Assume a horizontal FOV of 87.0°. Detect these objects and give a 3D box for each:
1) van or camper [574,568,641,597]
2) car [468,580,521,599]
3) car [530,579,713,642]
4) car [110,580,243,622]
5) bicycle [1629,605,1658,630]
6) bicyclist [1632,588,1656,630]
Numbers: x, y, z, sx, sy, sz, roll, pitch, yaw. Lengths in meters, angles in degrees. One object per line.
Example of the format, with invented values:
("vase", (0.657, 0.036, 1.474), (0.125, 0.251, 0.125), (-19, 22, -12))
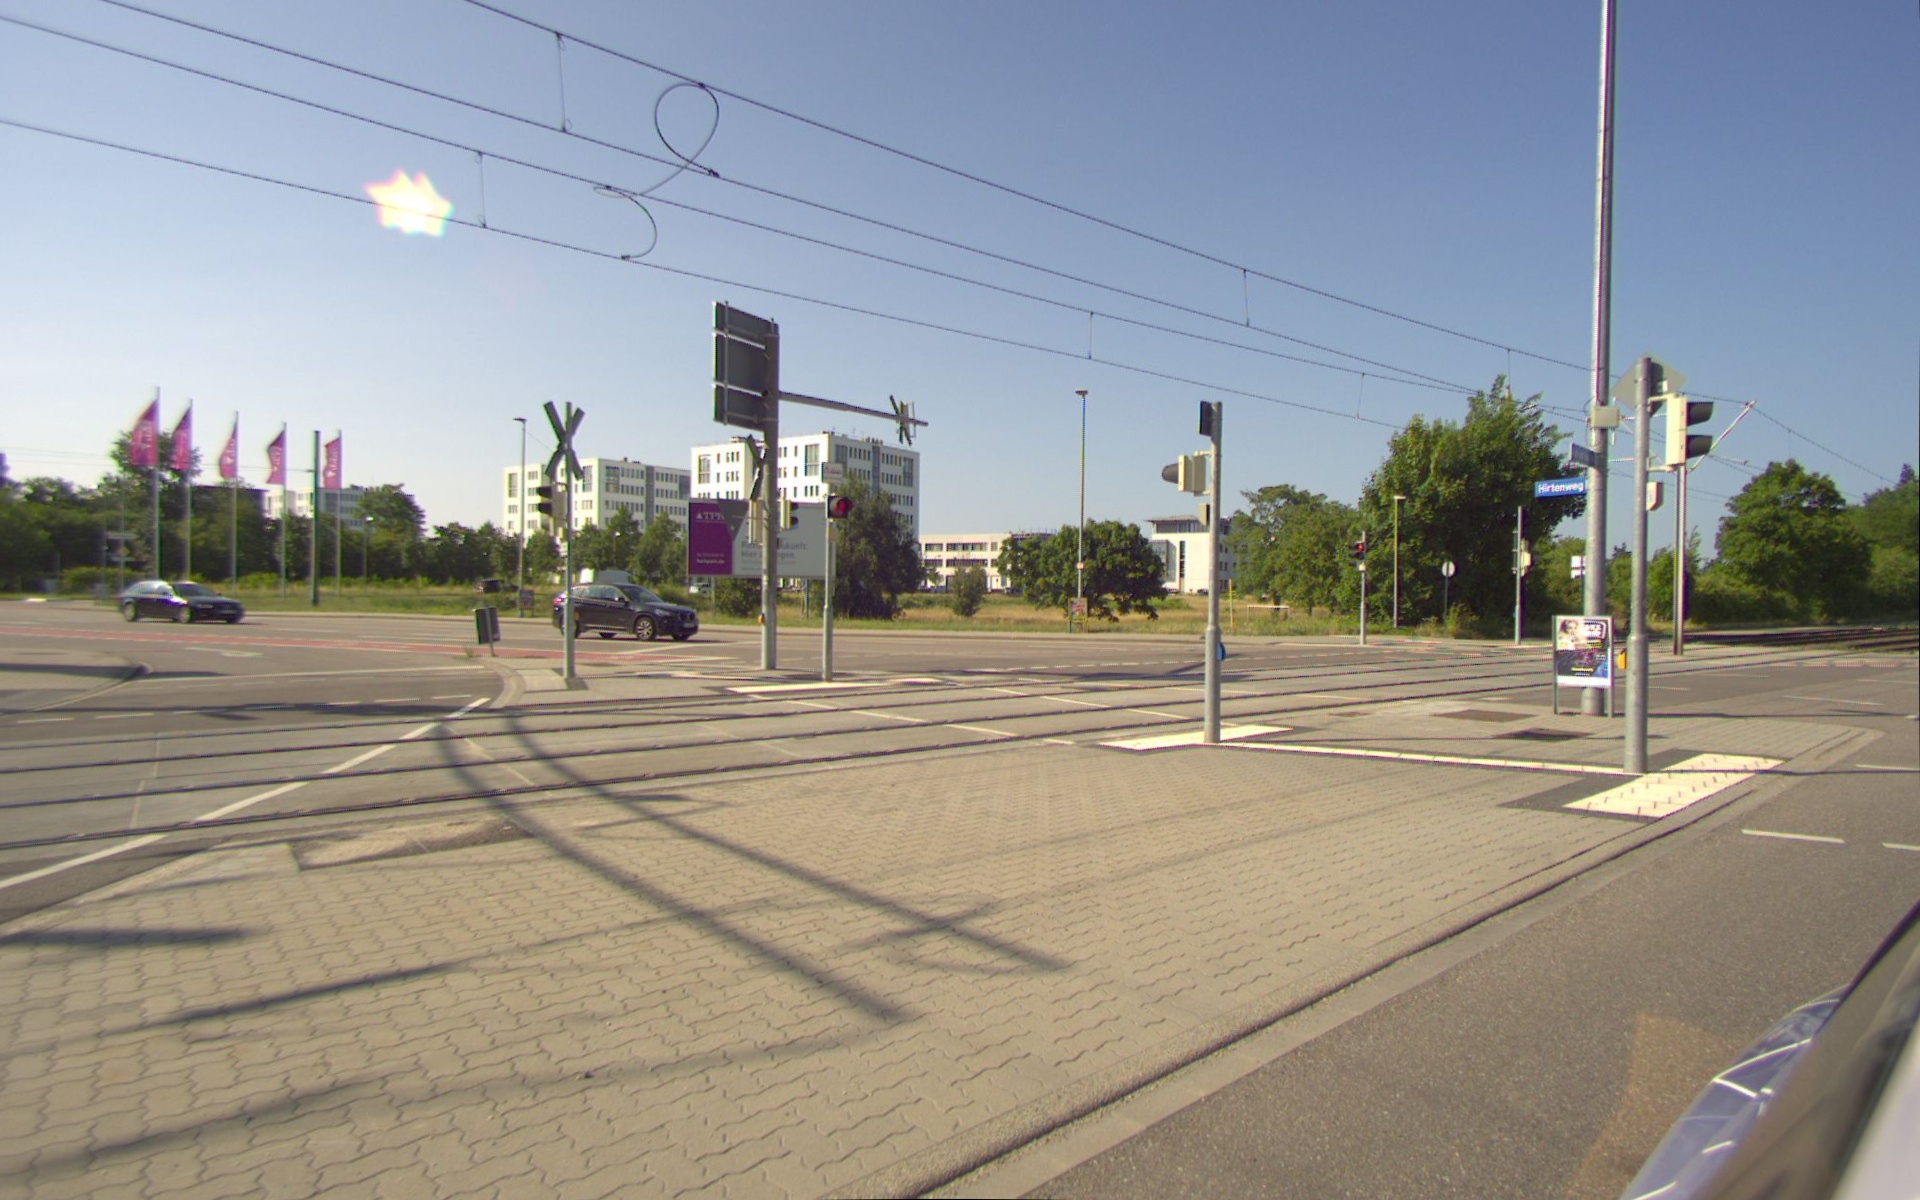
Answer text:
("van or camper", (-35.237, -1.752, 101.400), (2.218, 2.813, 6.678), (1, 1, 27))
("car", (-41.336, -0.939, 89.939), (1.979, 1.616, 3.965), (1, 1, 25))
("car", (-9.696, 0.258, 29.012), (4.805, 1.582, 2.030), (2, 1, 22))
("car", (-27.416, 0.015, 35.411), (4.255, 1.351, 1.738), (1, 1, 21))
("bicycle", (30.121, 0.750, 44.596), (1.840, 1.060, 0.546), (0, 1, -40))
("bicyclist", (30.132, 0.406, 44.604), (0.705, 1.830, 0.707), (0, 0, -40))
